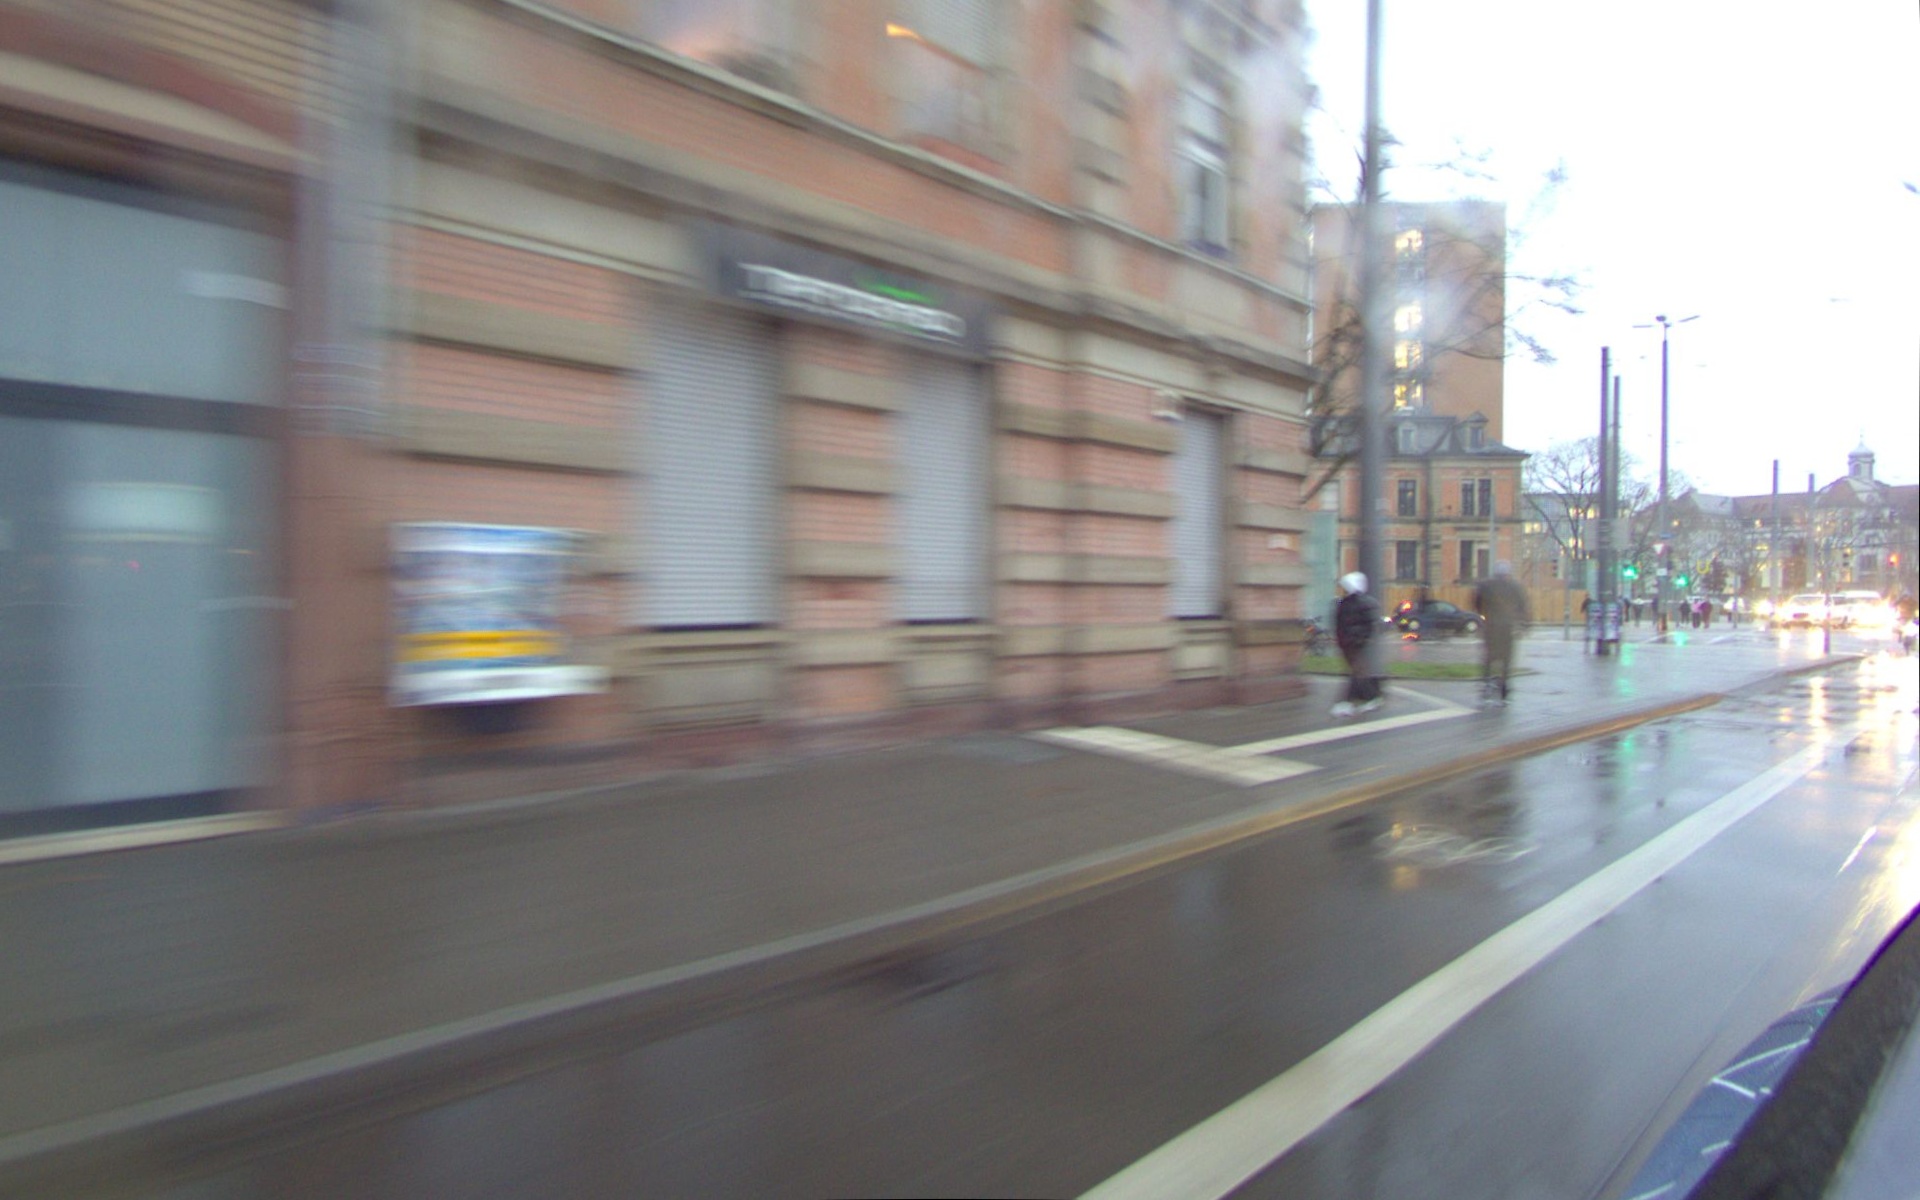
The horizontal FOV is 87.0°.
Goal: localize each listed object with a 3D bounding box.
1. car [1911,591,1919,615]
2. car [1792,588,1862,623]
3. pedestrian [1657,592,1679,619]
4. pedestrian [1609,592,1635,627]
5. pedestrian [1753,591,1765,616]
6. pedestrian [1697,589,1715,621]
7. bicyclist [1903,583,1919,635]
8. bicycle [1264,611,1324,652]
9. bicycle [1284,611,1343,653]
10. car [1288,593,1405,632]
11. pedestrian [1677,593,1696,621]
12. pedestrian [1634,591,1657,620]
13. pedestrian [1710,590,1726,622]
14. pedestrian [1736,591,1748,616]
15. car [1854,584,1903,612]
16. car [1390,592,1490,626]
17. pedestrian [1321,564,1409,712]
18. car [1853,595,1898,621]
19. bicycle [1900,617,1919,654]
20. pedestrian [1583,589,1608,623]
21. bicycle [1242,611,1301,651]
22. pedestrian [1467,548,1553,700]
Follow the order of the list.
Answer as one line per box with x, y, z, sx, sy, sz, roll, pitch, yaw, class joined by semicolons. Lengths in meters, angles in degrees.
77.166;0.238;80.231;1.812;1.957;3.954;0;1;32;car
49.124;0.272;57.309;4.780;1.861;1.999;0;1;-37;car
42.482;0.324;60.711;0.867;1.639;0.745;0;0;15;pedestrian
31.259;0.426;47.799;0.808;1.639;0.745;0;0;16;pedestrian
56.653;0.246;71.769;0.634;1.784;0.504;0;0;36;pedestrian
43.006;0.296;58.315;0.640;1.844;0.635;0;0;15;pedestrian
28.578;0.262;30.110;0.772;1.553;0.726;0;0;-42;bicyclist
8.282;0.767;25.051;1.909;0.965;0.455;0;0;-40;bicycle
8.623;0.767;24.634;1.909;0.965;0.455;0;0;-40;bicycle
16.415;0.515;43.175;4.312;1.608;1.887;0;0;7;car
42.382;0.418;59.051;0.699;1.639;0.745;0;0;15;pedestrian
38.781;0.307;57.234;0.867;1.639;0.745;0;0;15;pedestrian
43.092;0.337;57.533;0.503;1.784;0.635;0;0;15;pedestrian
55.878;0.244;72.314;0.634;1.784;0.504;0;0;36;pedestrian
62.475;-0.169;68.919;2.006;1.842;3.642;0;1;35;car
21.522;0.404;45.491;3.687;1.419;1.615;-1;0;9;car
4.490;0.400;11.231;0.697;1.568;0.634;0;0;-35;pedestrian
56.249;0.462;62.240;1.819;1.527;3.751;1;1;38;car
28.547;1.048;30.082;2.174;1.003;0.724;0;1;-43;bicycle
31.877;0.279;50.731;0.734;1.697;0.820;0;0;-31;pedestrian
7.846;0.764;25.469;1.909;0.965;0.455;0;0;-40;bicycle
6.953;0.288;12.795;0.698;1.848;0.753;0;0;-39;pedestrian
